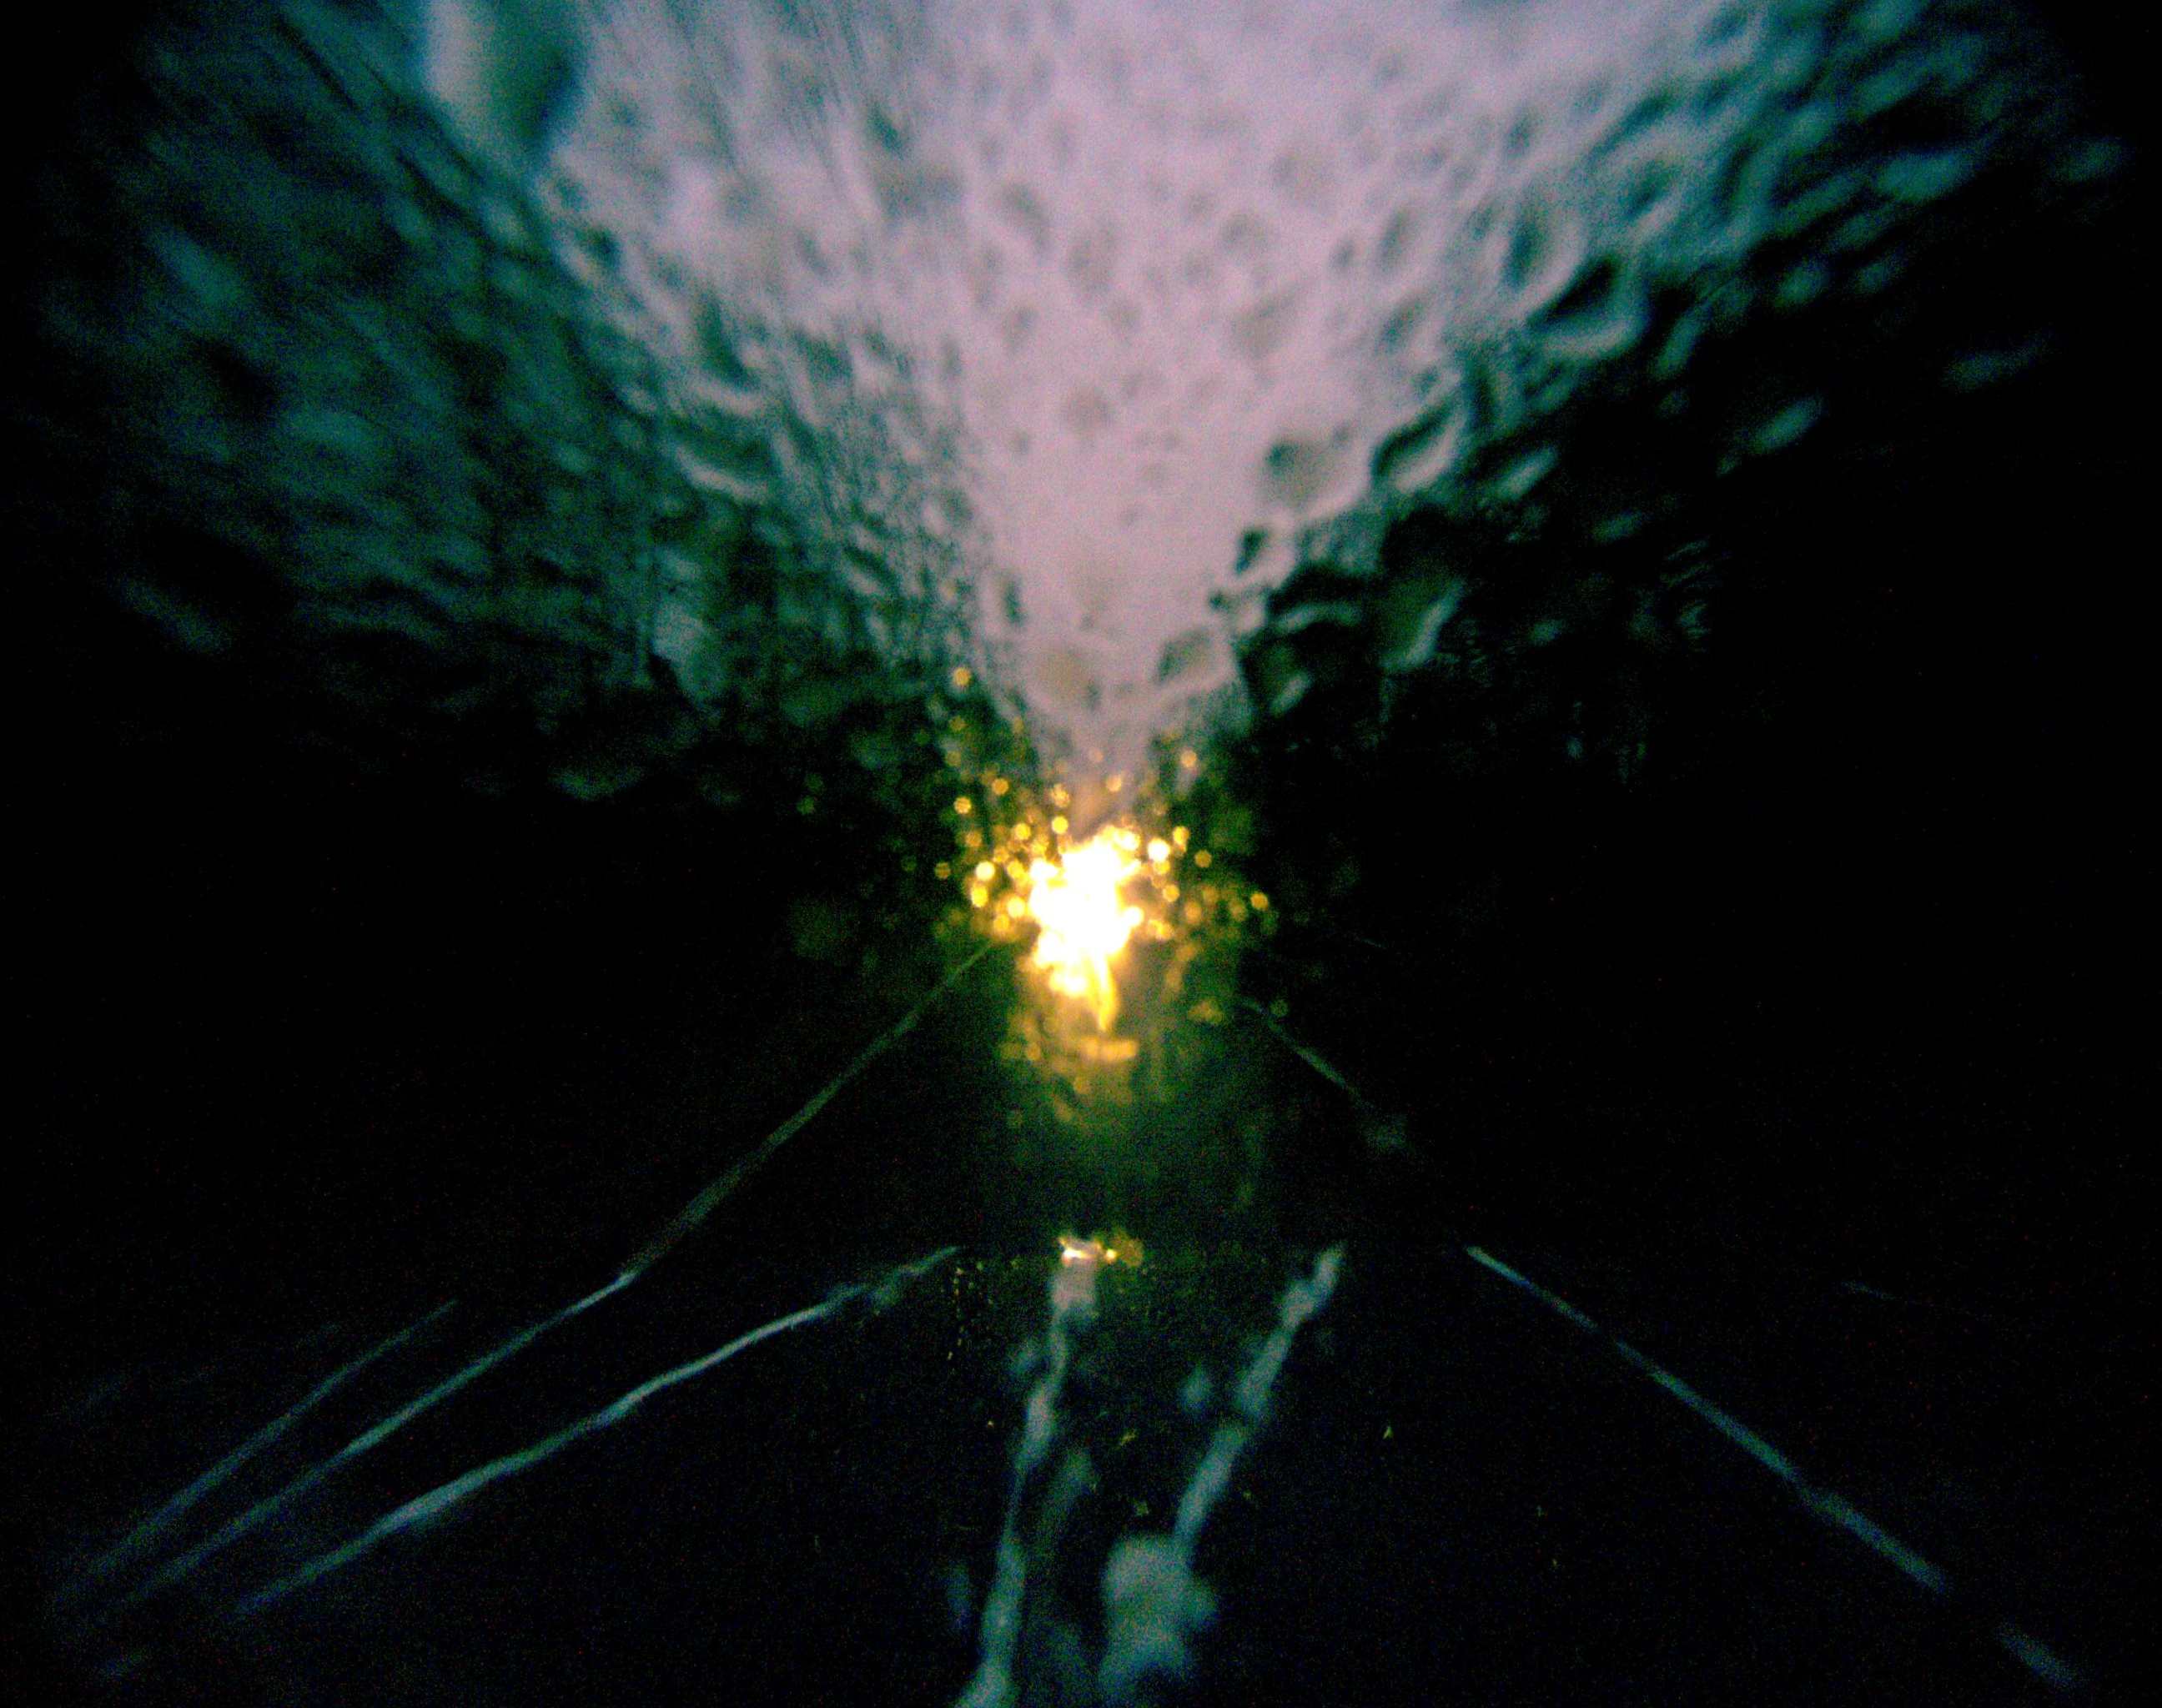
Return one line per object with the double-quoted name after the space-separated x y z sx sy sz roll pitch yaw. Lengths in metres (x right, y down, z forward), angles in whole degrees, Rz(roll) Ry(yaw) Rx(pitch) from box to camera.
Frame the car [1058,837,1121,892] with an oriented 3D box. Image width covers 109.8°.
0.446 0.401 34.922 2.542 2.213 6.169 -2 0 1 "car"
